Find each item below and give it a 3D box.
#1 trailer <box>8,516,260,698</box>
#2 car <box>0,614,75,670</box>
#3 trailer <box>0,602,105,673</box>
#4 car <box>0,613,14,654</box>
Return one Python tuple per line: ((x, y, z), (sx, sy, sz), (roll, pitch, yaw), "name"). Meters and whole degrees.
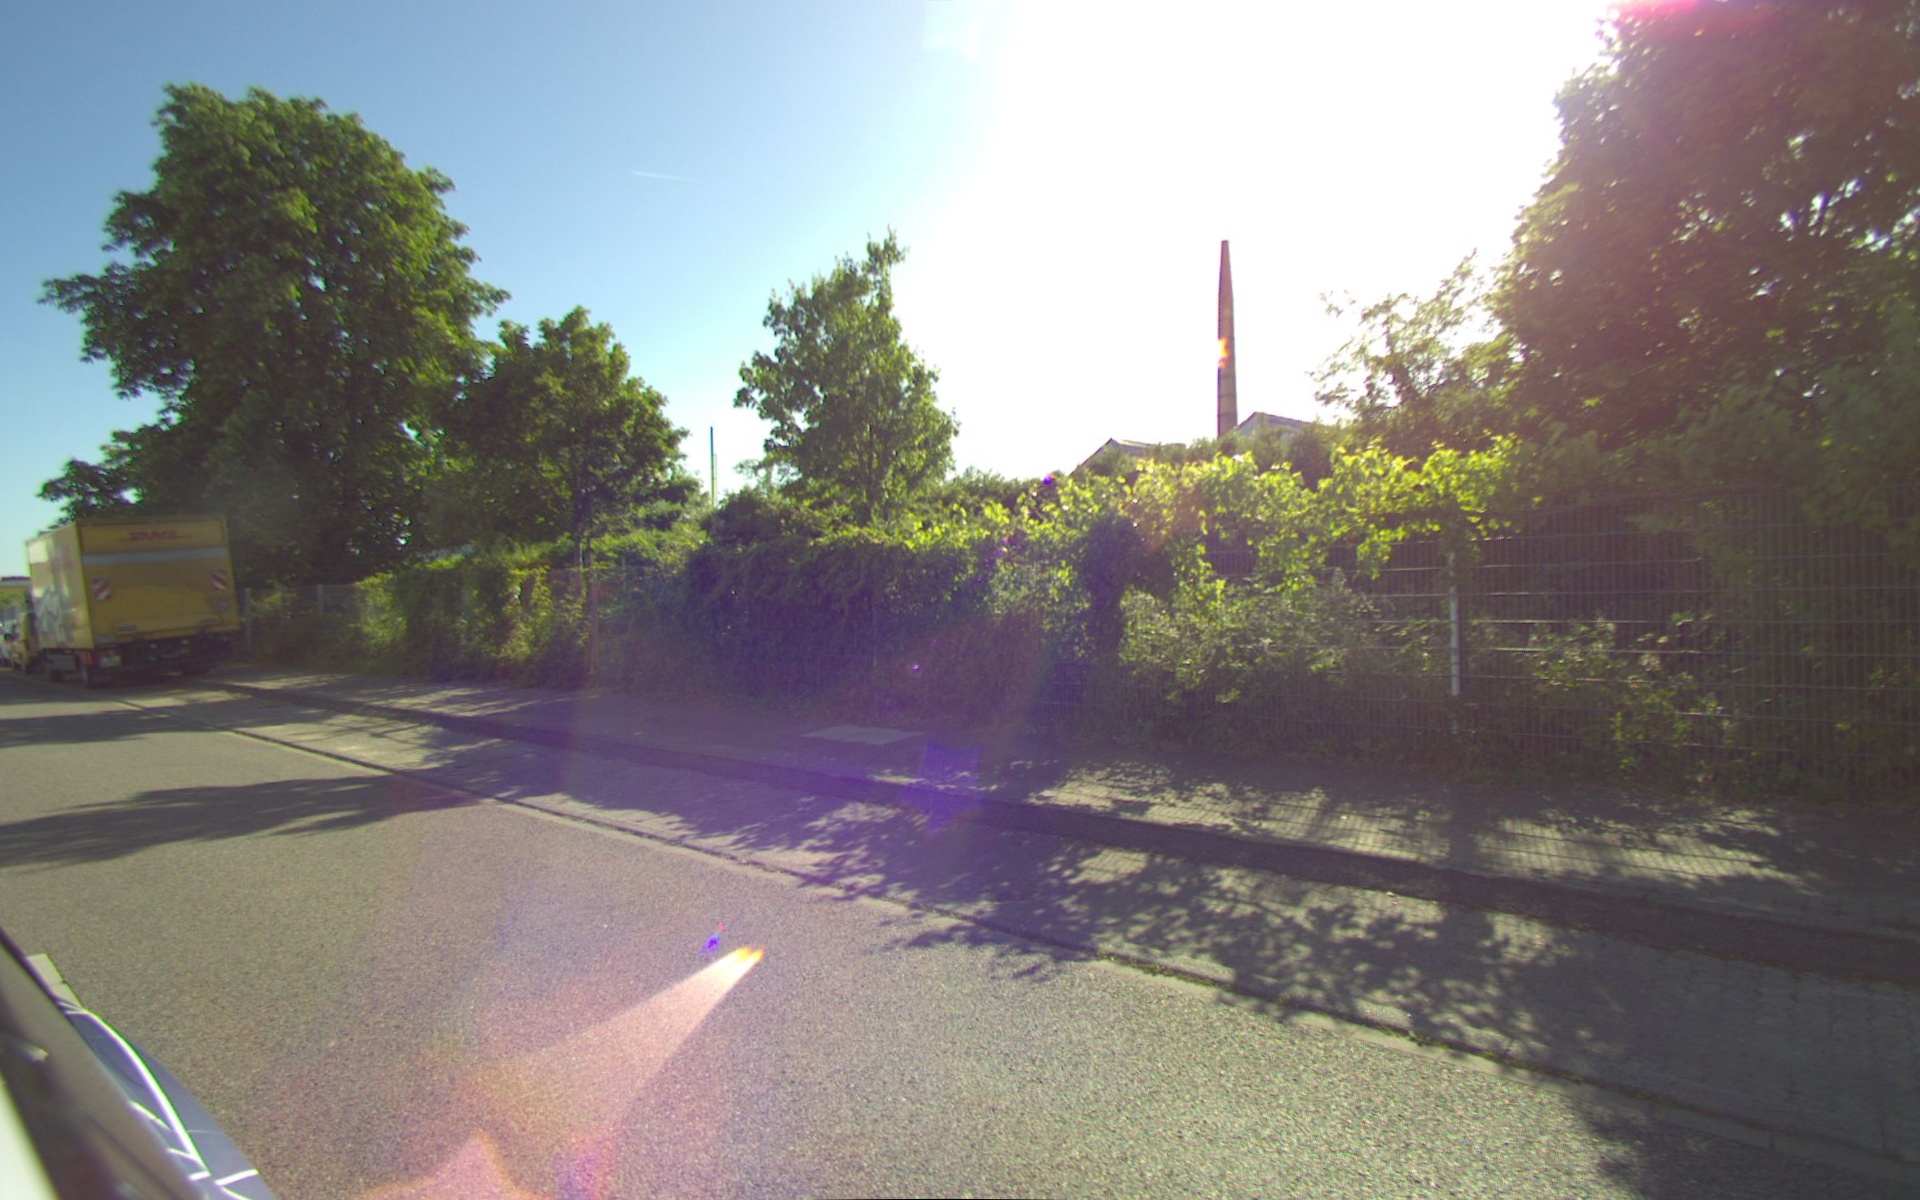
((-19.041, 0.164, 23.098), (8.154, 3.469, 2.961), (-1, 0, 40), "trailer")
((-31.598, 1.373, 34.150), (5.023, 1.604, 1.888), (-1, 4, 42), "car")
((-27.203, 1.054, 30.183), (4.413, 1.956, 1.973), (-1, 0, 41), "trailer")
((-41.787, 1.488, 42.801), (4.458, 1.674, 1.890), (-1, 4, 39), "car")
